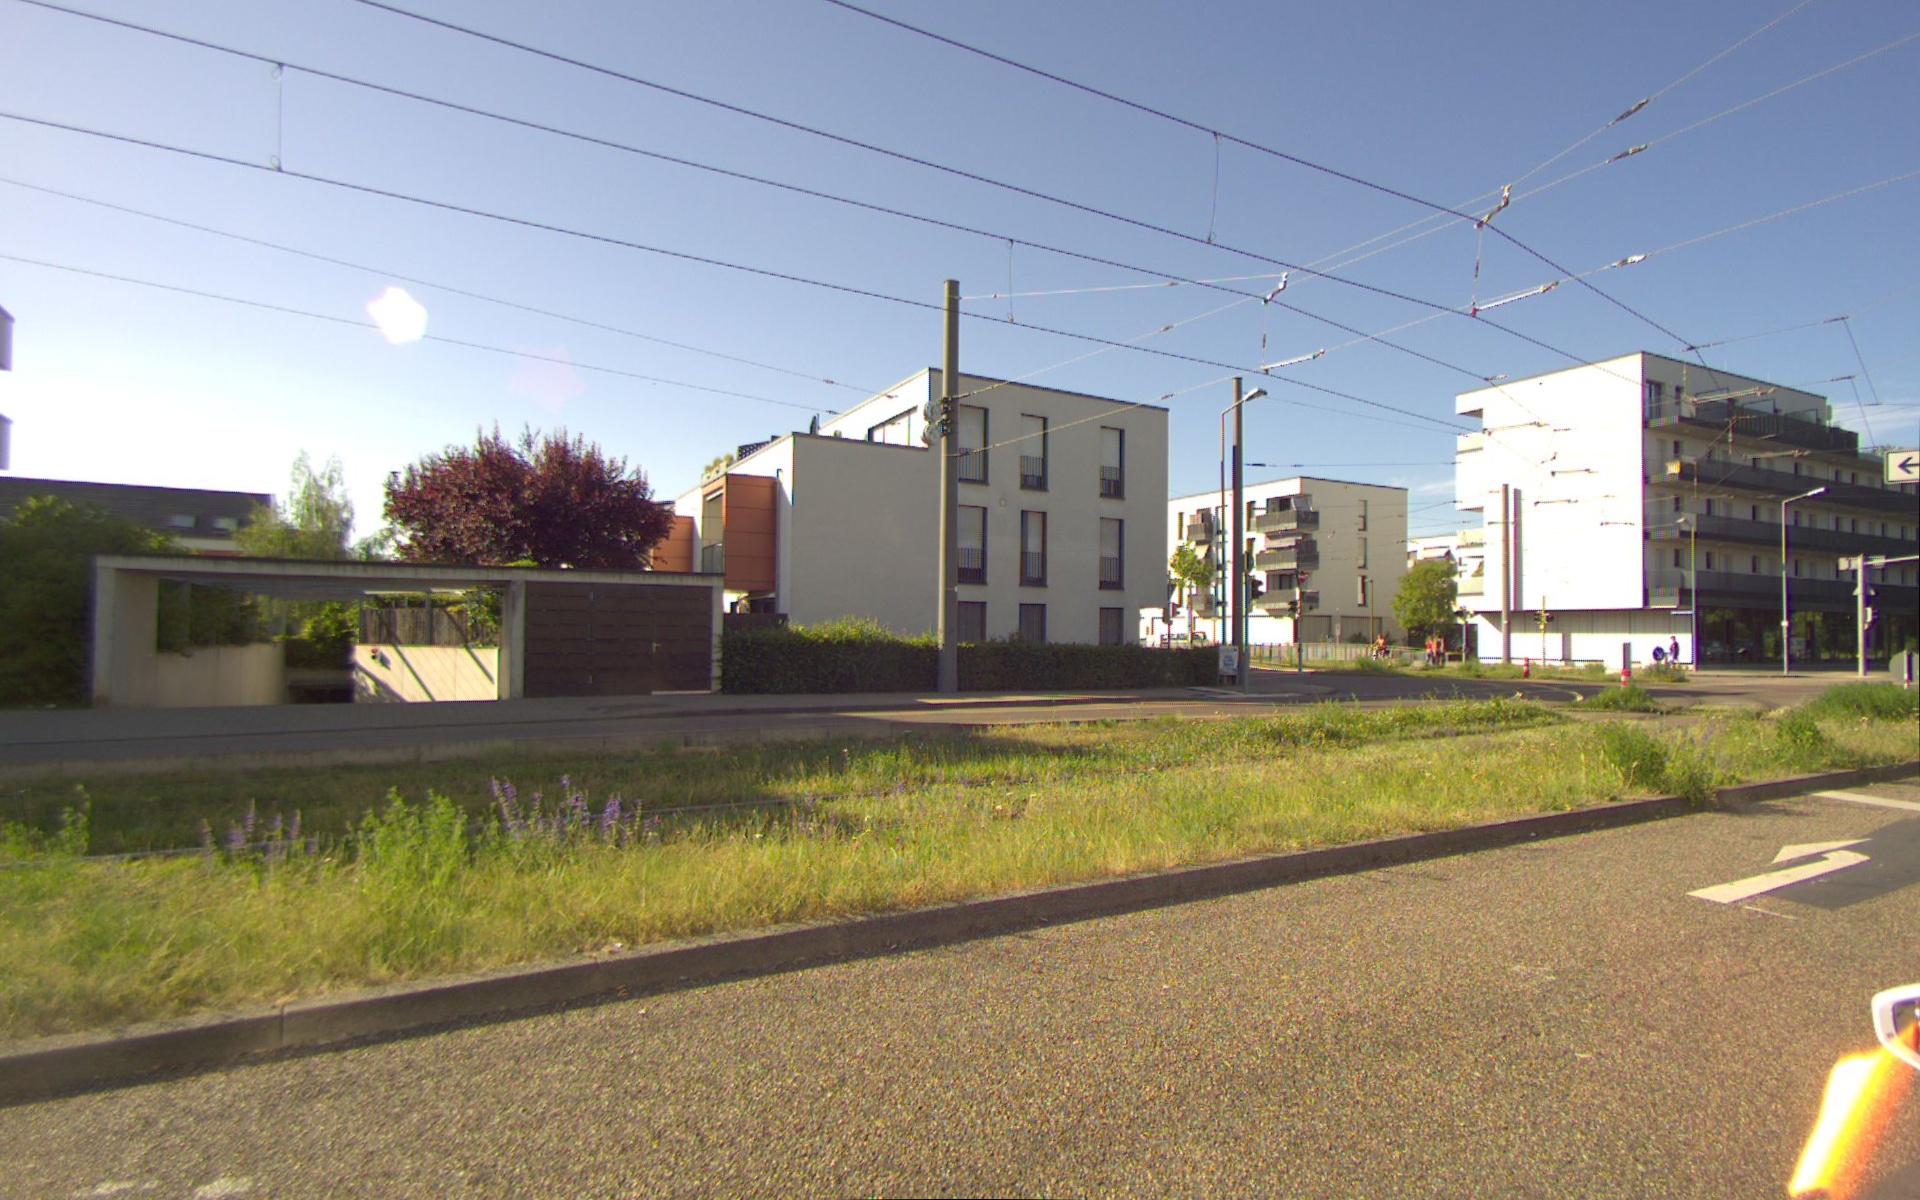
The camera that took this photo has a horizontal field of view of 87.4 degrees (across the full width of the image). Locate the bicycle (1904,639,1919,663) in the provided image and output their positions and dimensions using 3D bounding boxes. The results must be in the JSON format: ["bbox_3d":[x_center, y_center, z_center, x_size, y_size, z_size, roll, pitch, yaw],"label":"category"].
[{"bbox_3d":[56.256,2.978,59.151,1.894,1.350,0.626,2,0,-36],"label":"bicycle"}]

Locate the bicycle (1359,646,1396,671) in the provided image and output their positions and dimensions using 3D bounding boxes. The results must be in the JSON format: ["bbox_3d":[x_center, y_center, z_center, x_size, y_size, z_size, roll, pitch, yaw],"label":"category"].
[{"bbox_3d":[20.298,2.843,48.811,1.843,1.139,0.814,2,0,-36],"label":"bicycle"}]

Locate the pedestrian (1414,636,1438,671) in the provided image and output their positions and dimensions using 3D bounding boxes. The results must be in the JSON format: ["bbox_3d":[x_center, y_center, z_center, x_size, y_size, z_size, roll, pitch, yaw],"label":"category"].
[{"bbox_3d":[22.513,2.589,48.569,0.736,1.626,0.765,2,0,-37],"label":"pedestrian"}]

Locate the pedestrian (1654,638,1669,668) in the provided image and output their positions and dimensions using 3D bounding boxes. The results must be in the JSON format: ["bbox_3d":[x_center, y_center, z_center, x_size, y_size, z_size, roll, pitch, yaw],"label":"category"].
[{"bbox_3d":[35.751,2.689,51.175,0.513,1.523,0.438,2,0,-35],"label":"pedestrian"}]

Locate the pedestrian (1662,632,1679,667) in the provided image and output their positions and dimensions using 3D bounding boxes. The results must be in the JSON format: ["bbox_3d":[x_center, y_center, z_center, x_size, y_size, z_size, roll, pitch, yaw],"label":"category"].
[{"bbox_3d":[36.517,2.565,51.634,0.513,1.767,0.539,2,0,-35],"label":"pedestrian"}]

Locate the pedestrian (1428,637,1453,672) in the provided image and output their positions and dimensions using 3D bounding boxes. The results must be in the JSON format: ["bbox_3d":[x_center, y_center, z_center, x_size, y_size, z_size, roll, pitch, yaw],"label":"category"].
[{"bbox_3d":[22.896,2.597,47.863,0.736,1.626,0.765,2,0,-37],"label":"pedestrian"}]

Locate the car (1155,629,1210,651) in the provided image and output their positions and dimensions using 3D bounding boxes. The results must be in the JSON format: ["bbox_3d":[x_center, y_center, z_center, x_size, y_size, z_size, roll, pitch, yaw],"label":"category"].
[{"bbox_3d":[17.767,3.185,80.357,1.974,1.595,4.309,2,0,-27],"label":"car"}]

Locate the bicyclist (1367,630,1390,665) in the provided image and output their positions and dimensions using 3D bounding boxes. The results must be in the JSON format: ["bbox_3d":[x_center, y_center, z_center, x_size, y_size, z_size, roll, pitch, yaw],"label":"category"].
[{"bbox_3d":[20.345,2.304,48.827,0.635,1.635,0.777,2,0,-36],"label":"bicyclist"}]

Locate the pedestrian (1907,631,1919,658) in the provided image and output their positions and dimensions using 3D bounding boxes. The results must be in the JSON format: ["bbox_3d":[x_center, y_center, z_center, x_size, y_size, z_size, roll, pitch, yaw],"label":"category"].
[{"bbox_3d":[56.254,2.617,59.138,0.590,1.529,0.638,2,0,-36],"label":"pedestrian"}]
